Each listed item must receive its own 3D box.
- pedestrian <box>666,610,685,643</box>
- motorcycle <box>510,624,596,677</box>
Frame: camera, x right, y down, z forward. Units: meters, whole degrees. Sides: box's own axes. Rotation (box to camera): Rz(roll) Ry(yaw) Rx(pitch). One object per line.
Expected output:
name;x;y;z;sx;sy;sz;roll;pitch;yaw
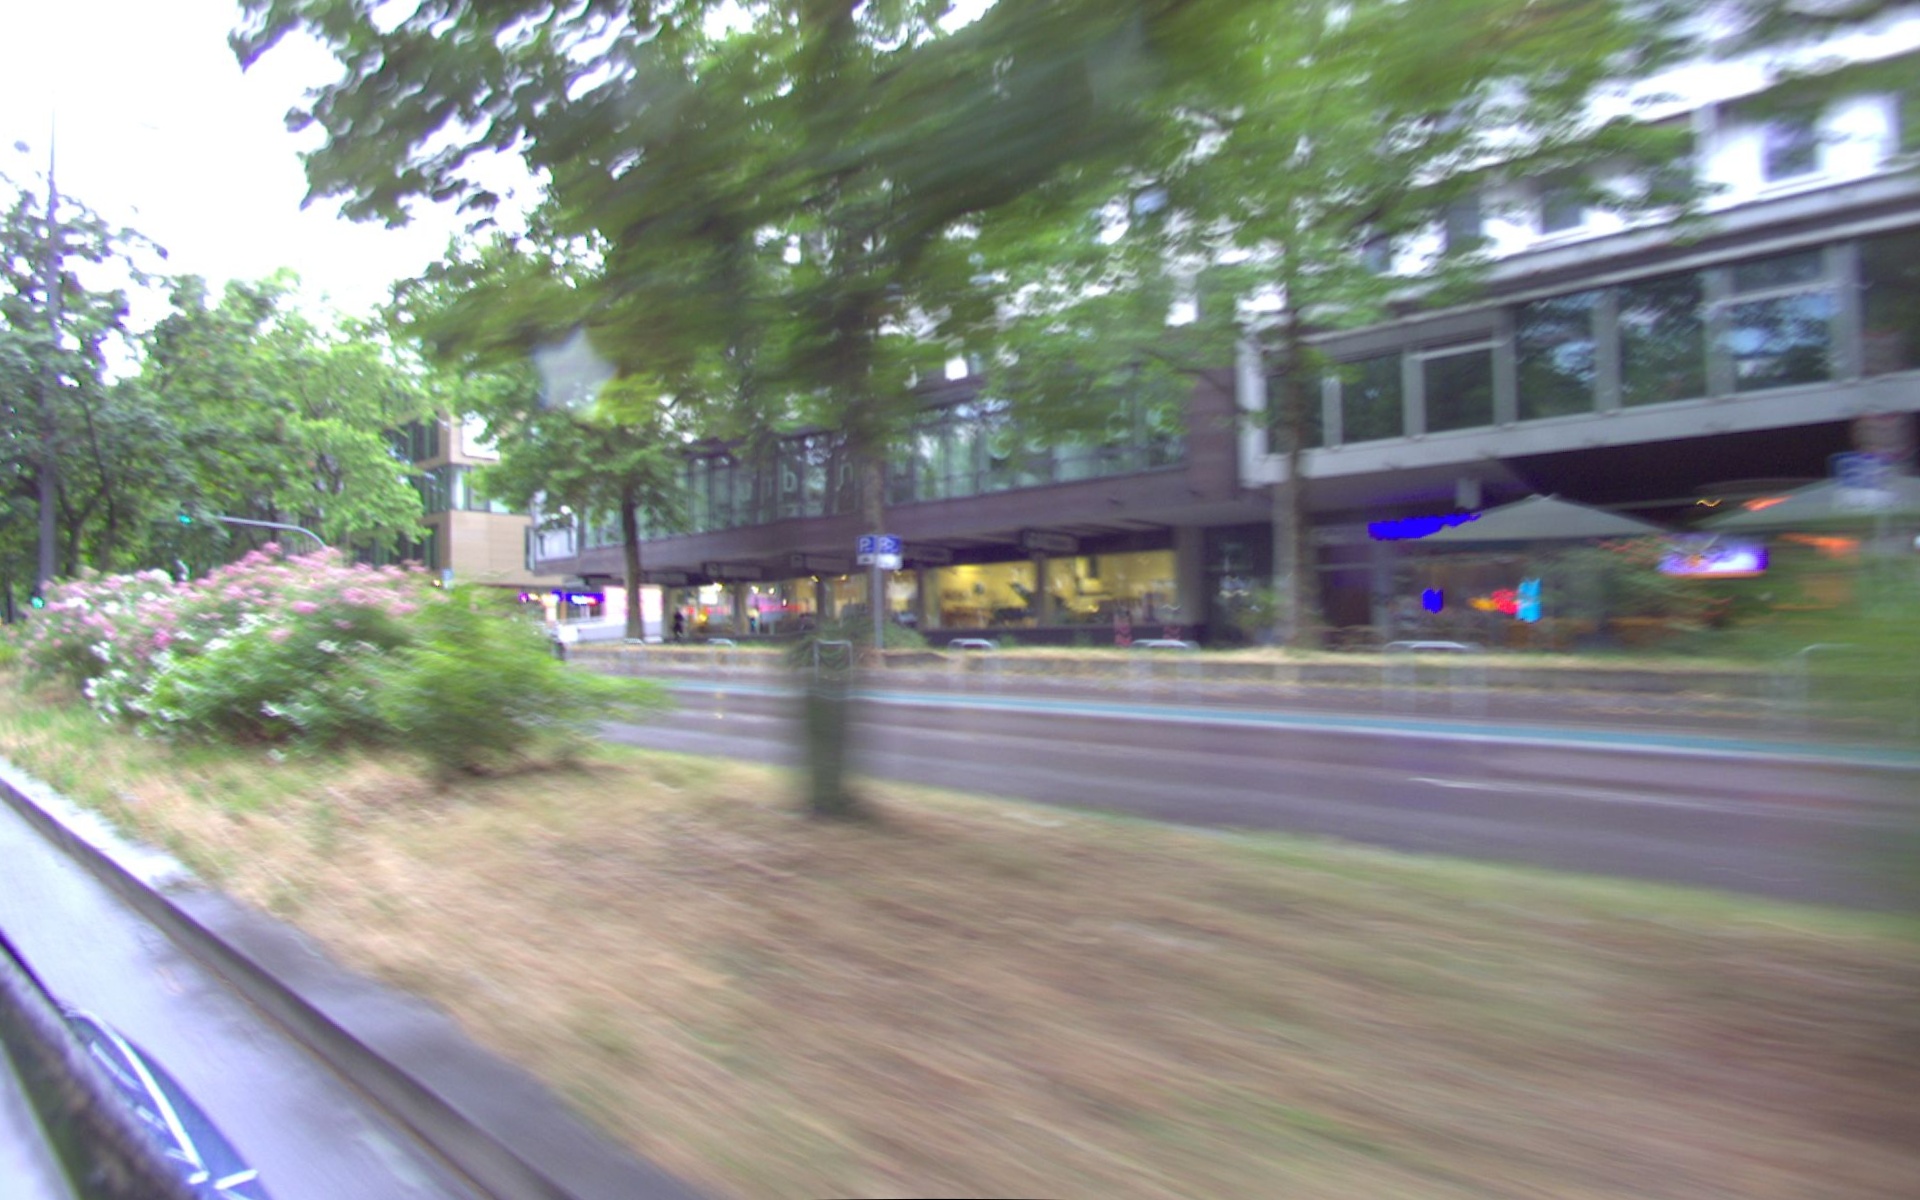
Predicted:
pedestrian;-12.815;1.207;45.570;0.559;1.476;0.561;-2;-1;36
motorcycle;-12.364;1.506;30.859;0.894;1.400;2.503;-2;1;23
